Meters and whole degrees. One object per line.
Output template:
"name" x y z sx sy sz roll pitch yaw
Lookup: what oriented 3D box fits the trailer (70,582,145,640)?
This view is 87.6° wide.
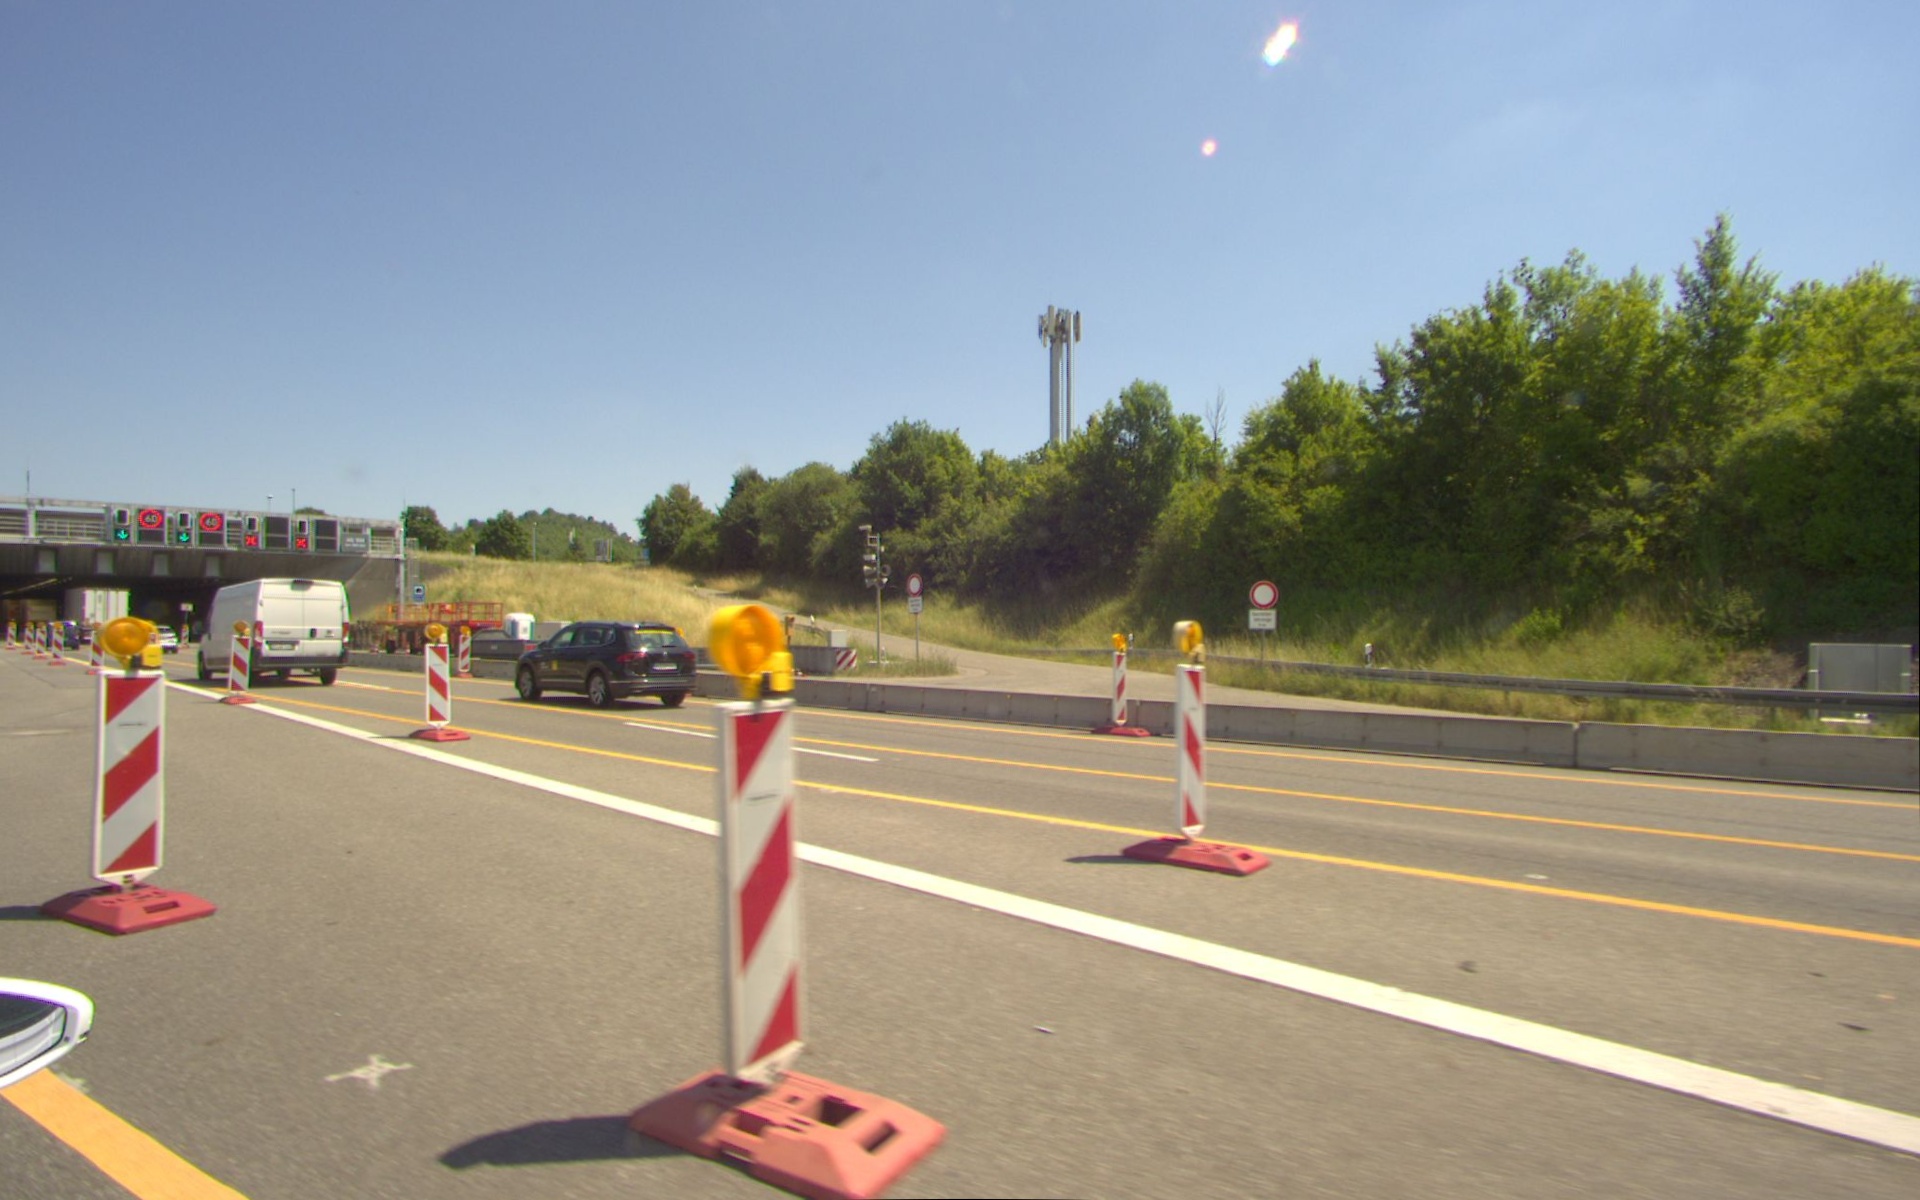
"trailer" -65.485 1.009 76.760 13.943 4.113 2.719 -2 -3 43

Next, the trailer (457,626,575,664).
"trailer" -21.182 2.093 47.623 6.159 1.589 2.584 -1 0 39

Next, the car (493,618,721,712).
"car" -7.287 1.245 20.377 5.175 1.683 2.011 -2 -2 40

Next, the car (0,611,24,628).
"car" -98.619 2.055 103.777 4.140 1.650 1.808 -2 -3 39

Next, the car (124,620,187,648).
"car" -43.527 1.849 54.139 4.598 1.483 1.808 -2 -3 40

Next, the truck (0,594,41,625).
"truck" -139.876 1.562 148.825 16.357 4.122 3.385 -2 -3 43

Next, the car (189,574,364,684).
"car" -18.094 0.777 26.345 6.511 2.568 2.255 -2 -2 42

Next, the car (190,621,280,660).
"car" -29.903 1.698 41.250 4.597 1.482 1.809 -3 -5 38

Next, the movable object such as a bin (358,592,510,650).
"movable object such as a bin" -31.016 1.257 58.494 14.540 3.050 3.094 -2 0 42

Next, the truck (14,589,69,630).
"truck" -111.241 1.311 121.133 16.359 4.388 3.385 -3 -4 43

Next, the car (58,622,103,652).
"car" -51.512 2.167 58.633 1.803 1.663 4.609 2 -3 -43
